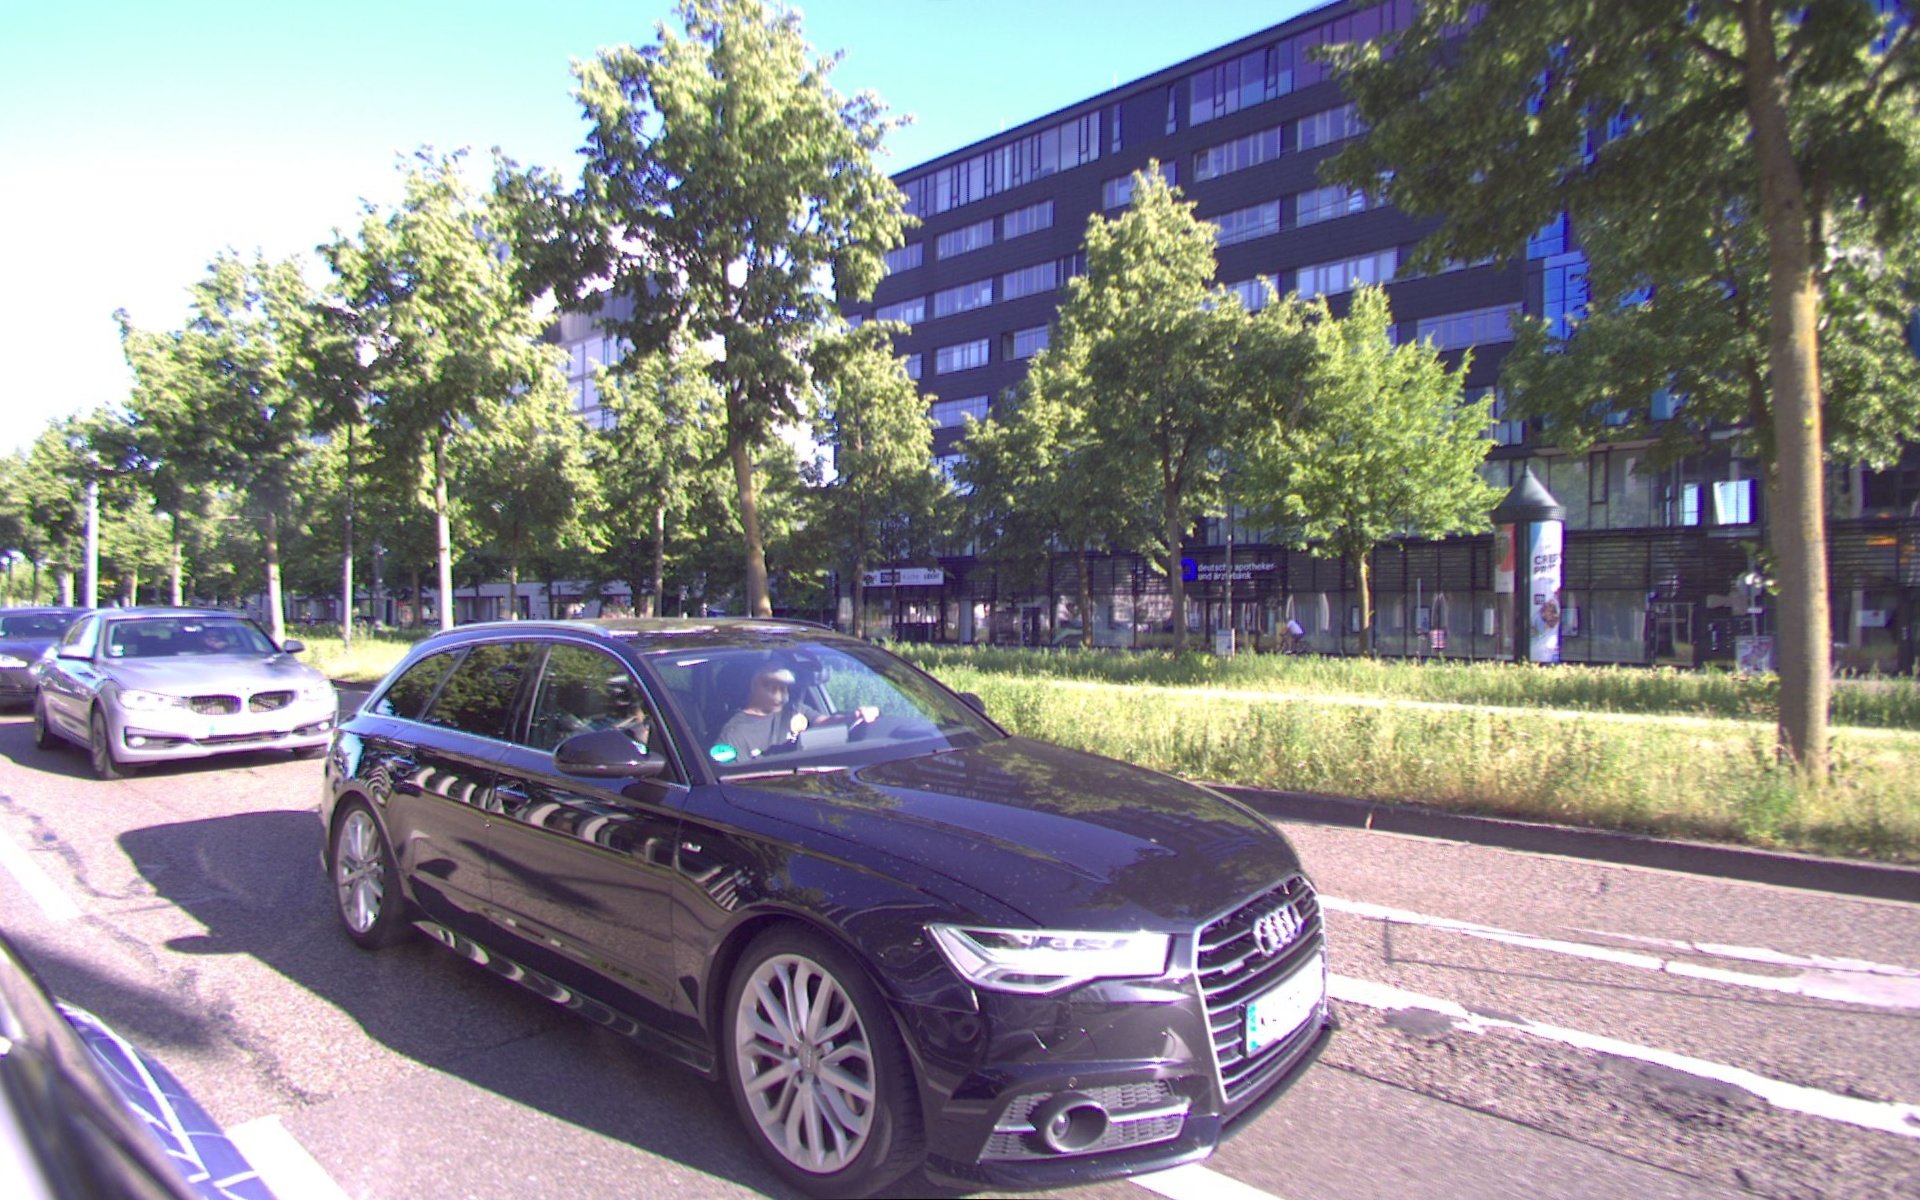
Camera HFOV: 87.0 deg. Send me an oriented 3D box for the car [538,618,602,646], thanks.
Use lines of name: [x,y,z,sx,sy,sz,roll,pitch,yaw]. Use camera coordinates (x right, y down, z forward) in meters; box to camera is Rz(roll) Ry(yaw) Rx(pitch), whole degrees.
car: [-25.253,2.052,65.517,4.789,1.697,1.834,-1,-2,41]

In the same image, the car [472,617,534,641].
car: [-32.718,2.063,72.367,4.784,1.712,1.988,-1,-2,37]

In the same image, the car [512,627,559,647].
car: [-32.690,2.844,77.968,3.998,1.516,1.734,-1,-2,41]

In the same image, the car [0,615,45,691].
car: [-20.270,1.041,20.741,4.252,1.465,1.789,-1,-2,42]

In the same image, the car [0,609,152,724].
car: [-13.876,0.922,15.357,4.026,1.534,1.789,-1,-2,41]

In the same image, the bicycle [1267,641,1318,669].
bicycle: [13.177,2.174,40.155,1.847,1.041,0.522,0,-1,41]

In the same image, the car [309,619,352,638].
car: [-58.482,2.594,93.956,4.787,1.712,1.987,-1,-2,39]

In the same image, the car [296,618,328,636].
car: [-62.206,2.542,97.124,3.741,1.682,1.581,-1,-2,41]

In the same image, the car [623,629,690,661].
car: [-17.620,2.554,58.656,3.998,1.762,1.834,-1,-2,41]

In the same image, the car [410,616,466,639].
car: [-40.735,2.140,78.884,4.784,1.712,1.988,-1,-2,37]

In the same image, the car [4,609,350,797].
car: [-8.103,0.866,10.293,4.738,1.500,1.790,-1,-2,40]

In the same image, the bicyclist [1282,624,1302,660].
bicyclist: [13.174,1.649,40.148,0.626,1.416,0.487,0,-1,41]

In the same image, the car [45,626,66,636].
car: [-123.711,4.248,138.381,3.998,1.403,1.644,-1,-2,41]

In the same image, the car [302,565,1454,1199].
car: [-0.757,0.716,3.914,4.505,1.468,1.789,-1,-2,41]

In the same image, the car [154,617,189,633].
car: [-77.903,2.496,100.010,4.733,1.549,1.835,-1,-2,41]

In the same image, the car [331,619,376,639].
car: [-54.071,2.572,90.185,4.787,1.712,1.987,-1,-2,39]
